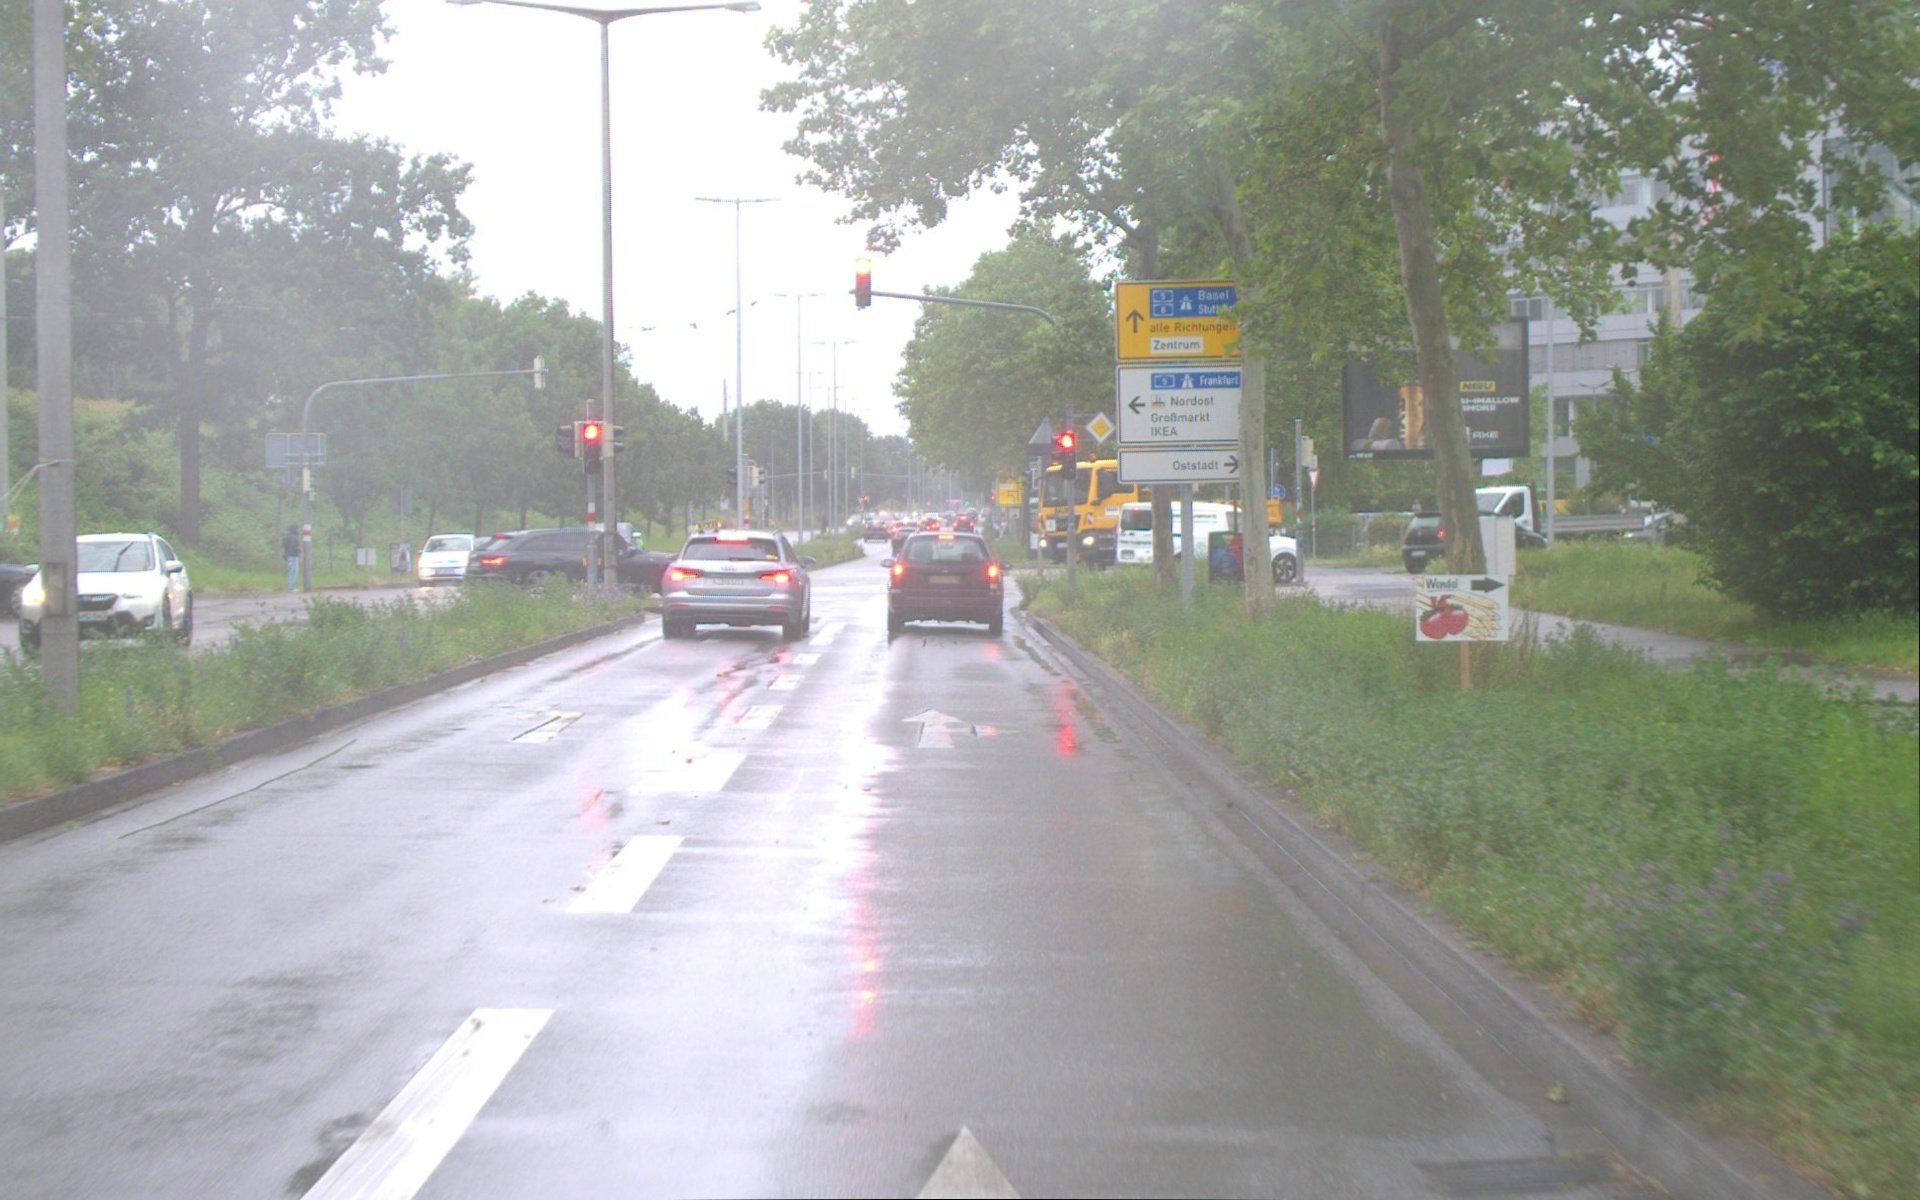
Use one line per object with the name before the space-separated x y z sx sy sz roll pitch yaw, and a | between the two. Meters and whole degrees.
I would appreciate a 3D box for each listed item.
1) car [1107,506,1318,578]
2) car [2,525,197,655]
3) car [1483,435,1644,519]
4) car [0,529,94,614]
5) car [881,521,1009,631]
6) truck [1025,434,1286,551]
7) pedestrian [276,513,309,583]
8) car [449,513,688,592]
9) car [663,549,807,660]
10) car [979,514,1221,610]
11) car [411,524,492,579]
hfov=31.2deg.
car | 5.583 -1.283 75.850 4.372 1.532 1.802 -1 1 -29
car | -11.166 -0.166 44.897 1.856 1.583 4.520 -1 1 -6
car | 16.989 -3.466 96.737 4.374 2.183 1.802 -4 3 -34
car | -18.210 -0.511 62.643 4.372 1.532 1.802 -1 1 -29
car | -0.220 -0.377 51.225 1.796 1.532 4.387 1 1 0
truck | 5.350 -2.900 93.365 7.027 3.043 2.647 -1 1 -37
pedestrian | -17.267 -1.338 88.957 0.533 1.779 0.673 1 0 17
car | -7.783 -0.952 68.439 4.372 1.532 1.802 0 1 -29
car | -3.041 0.026 47.228 1.690 1.428 4.574 0 1 0
car | 2.619 -0.738 63.609 4.375 1.531 1.801 -4 4 -40
car | -14.493 -1.386 98.100 1.712 1.525 4.000 0 1 0
